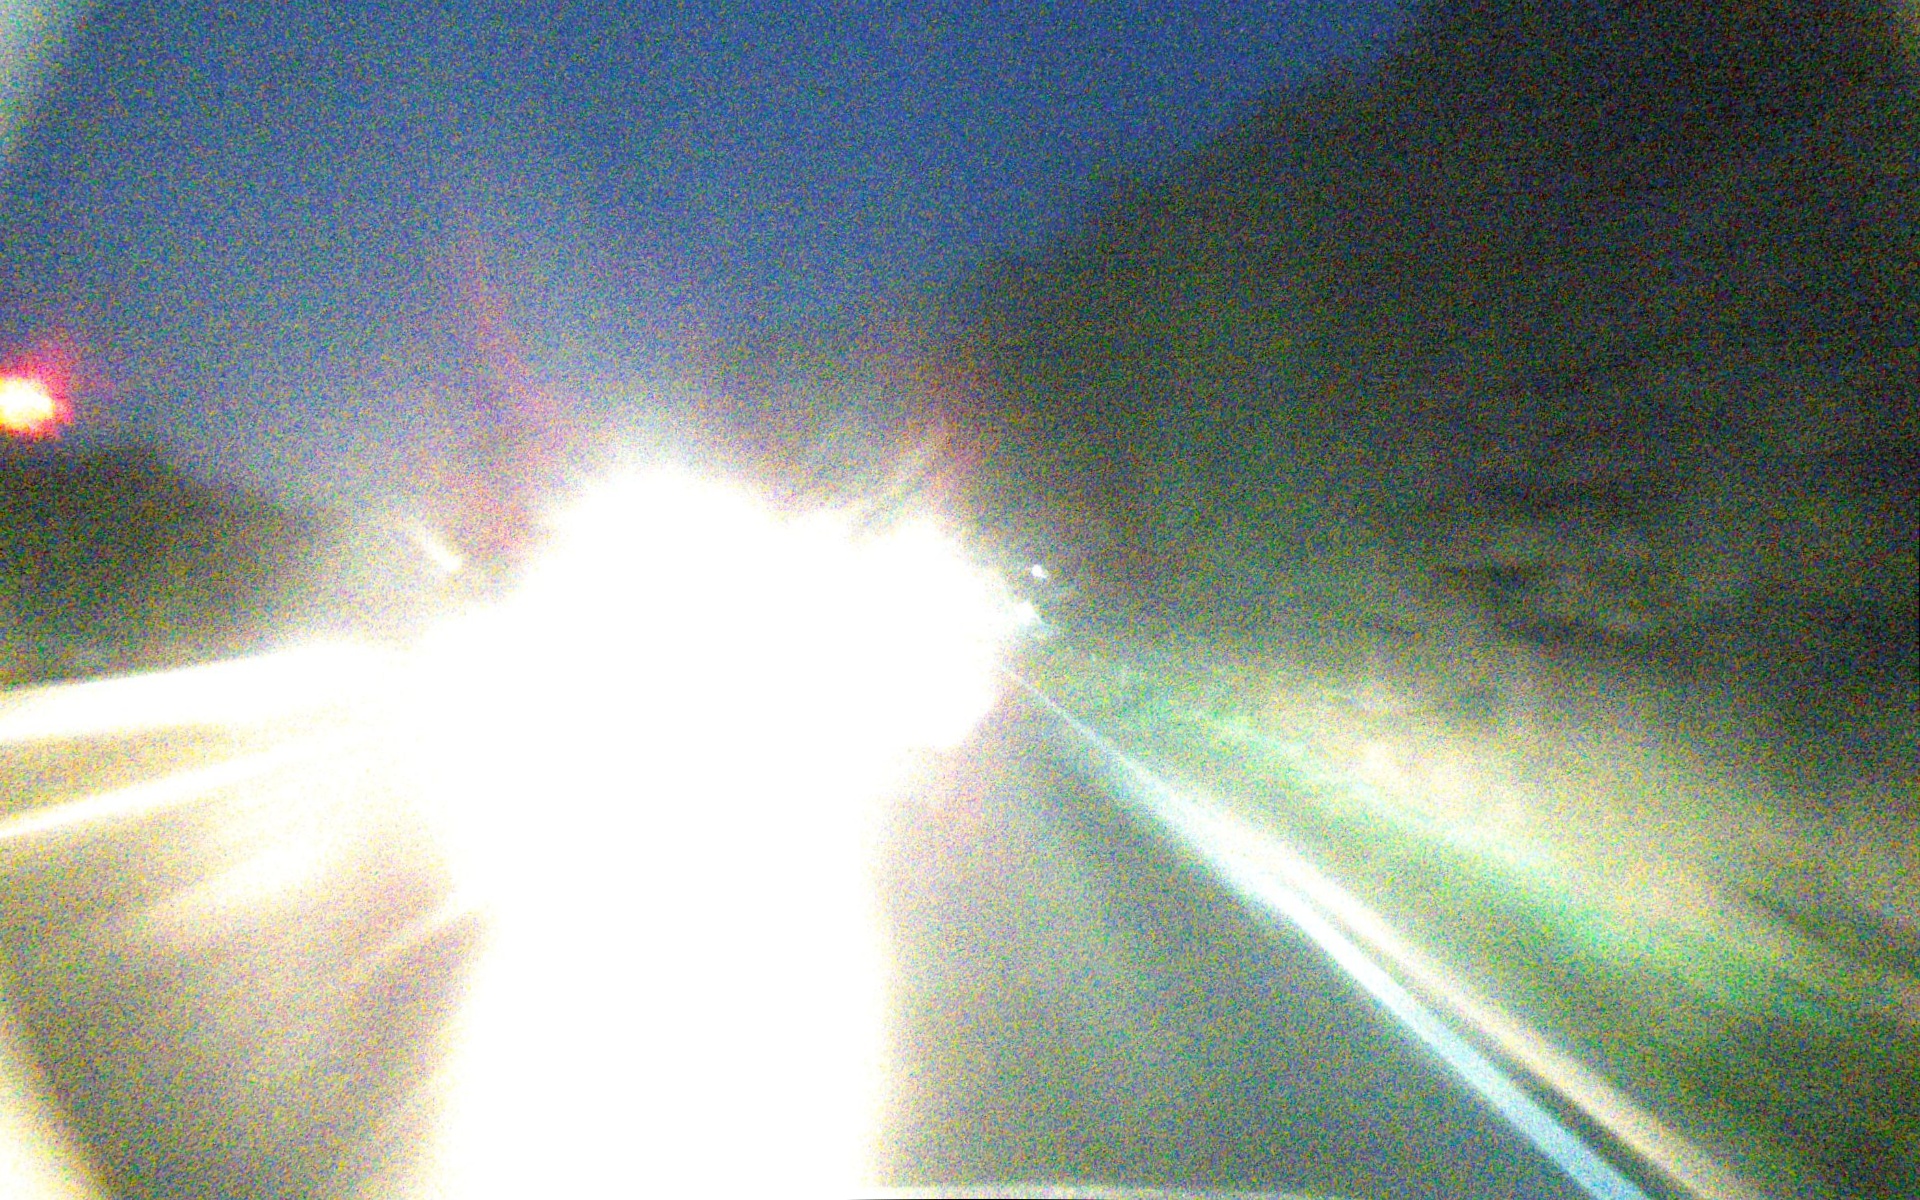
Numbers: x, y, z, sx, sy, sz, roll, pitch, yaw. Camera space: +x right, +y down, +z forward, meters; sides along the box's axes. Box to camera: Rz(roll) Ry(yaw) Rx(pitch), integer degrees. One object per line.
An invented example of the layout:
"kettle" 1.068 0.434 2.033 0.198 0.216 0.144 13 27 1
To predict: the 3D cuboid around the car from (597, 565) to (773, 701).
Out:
"car" -3.615 0.397 22.407 1.882 1.674 4.023 0 0 -3
